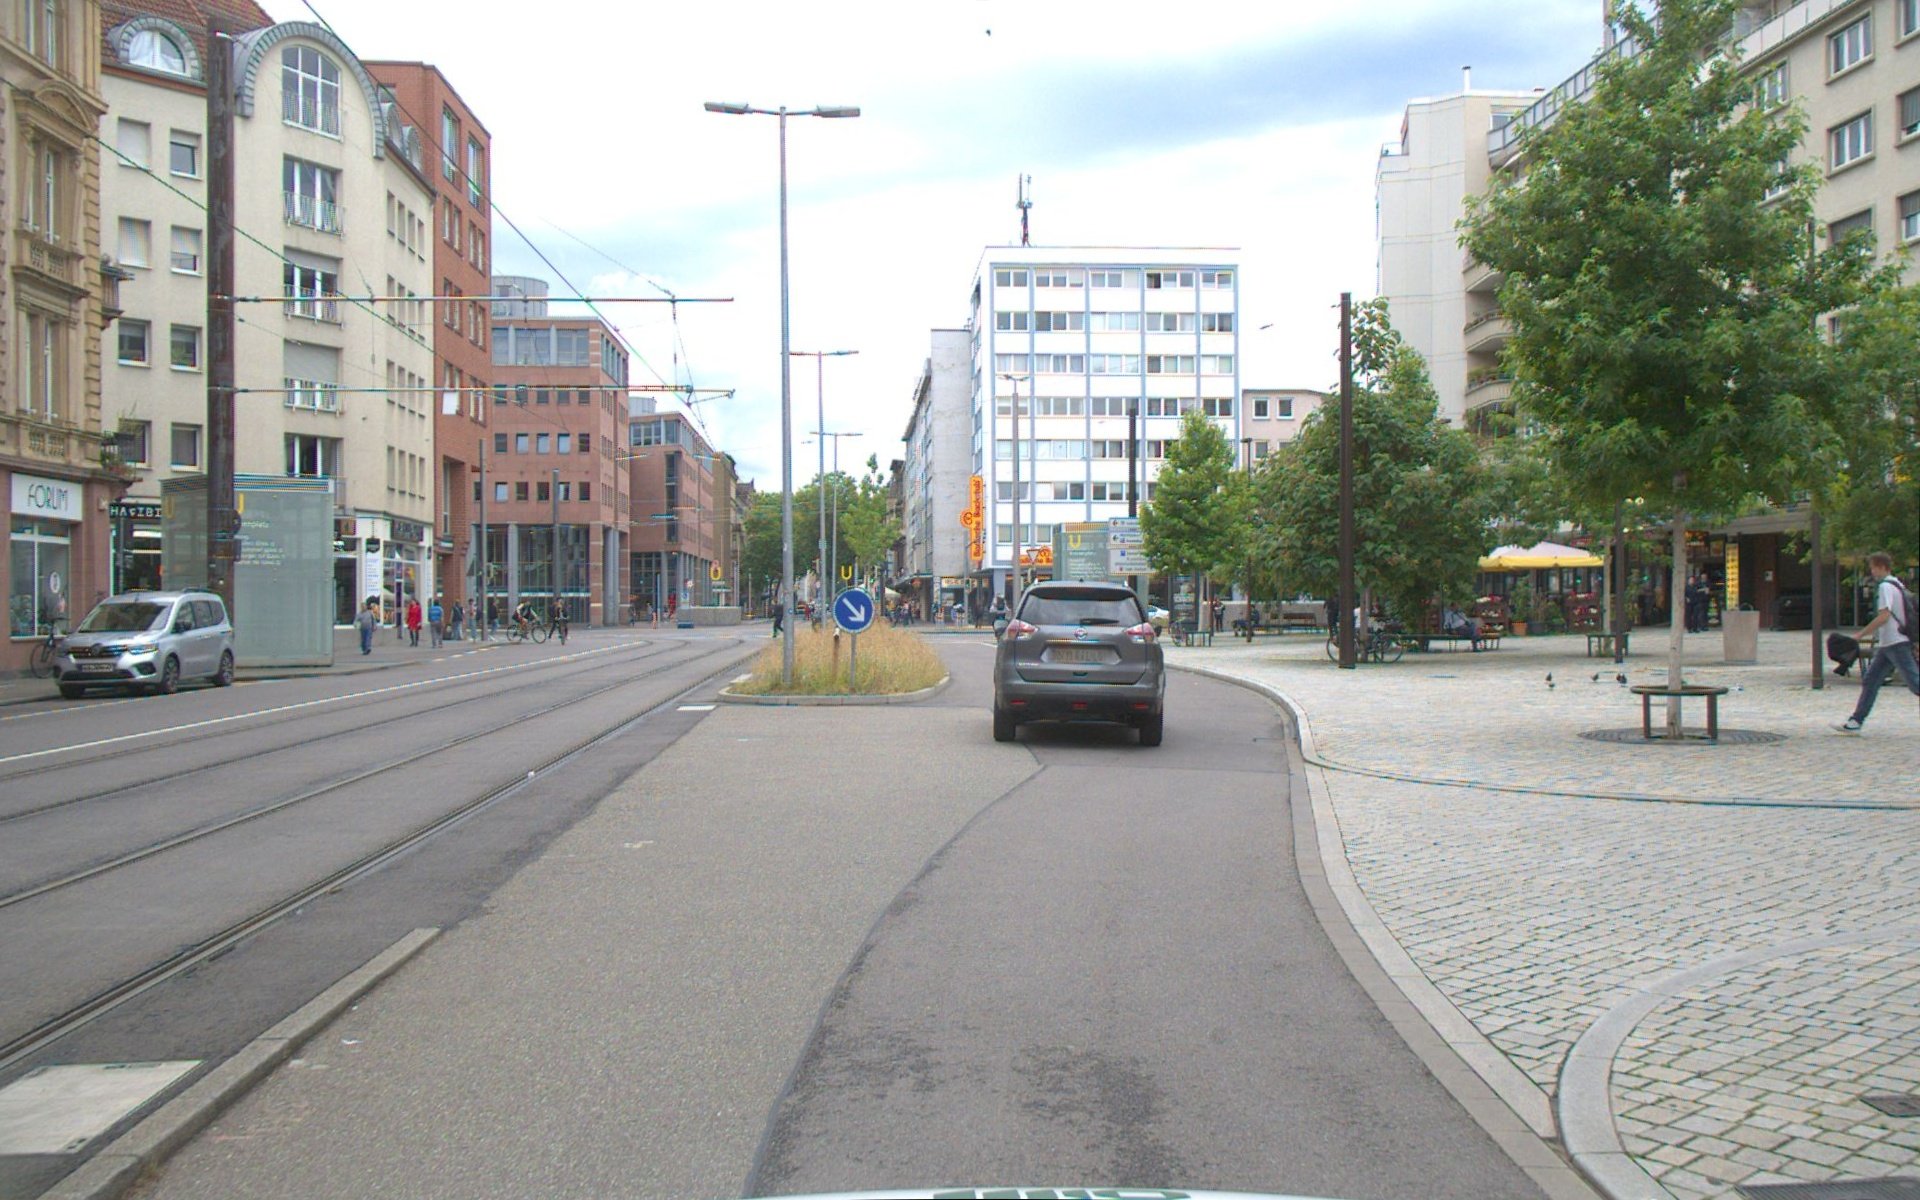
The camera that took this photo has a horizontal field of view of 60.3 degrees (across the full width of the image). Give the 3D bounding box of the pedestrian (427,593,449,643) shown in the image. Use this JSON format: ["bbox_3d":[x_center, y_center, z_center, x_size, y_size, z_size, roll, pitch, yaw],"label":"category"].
[{"bbox_3d":[-18.232,0.642,57.791,0.648,1.716,0.720,-1,-2,-13],"label":"pedestrian"}]

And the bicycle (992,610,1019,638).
[{"bbox_3d":[1.773,0.940,65.081,0.883,1.063,3.276,0,-1,-2],"label":"bicycle"}]

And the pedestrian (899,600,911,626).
[{"bbox_3d":[-3.803,0.880,114.410,0.719,1.776,0.661,1,-1,-12],"label":"pedestrian"}]

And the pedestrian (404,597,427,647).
[{"bbox_3d":[-19.040,0.766,57.817,0.708,1.716,0.659,-1,-2,-15],"label":"pedestrian"}]

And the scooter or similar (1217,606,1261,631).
[{"bbox_3d":[11.387,0.750,67.539,1.559,0.965,0.723,-3,-1,34],"label":"scooter or similar"}]

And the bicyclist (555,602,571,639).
[{"bbox_3d":[-15.412,0.806,64.230,0.472,1.431,0.807,-1,-1,-21],"label":"bicyclist"}]

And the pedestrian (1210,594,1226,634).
[{"bbox_3d":[11.790,0.631,75.597,0.657,1.792,0.642,0,-1,11],"label":"pedestrian"}]

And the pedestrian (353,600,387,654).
[{"bbox_3d":[-19.116,0.886,53.597,0.705,1.716,0.825,-2,-2,15],"label":"pedestrian"}]

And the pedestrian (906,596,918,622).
[{"bbox_3d":[-3.408,0.626,116.848,0.700,1.864,1.014,0,-1,-12],"label":"pedestrian"}]

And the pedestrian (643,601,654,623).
[{"bbox_3d":[-26.490,1.008,140.458,0.724,1.874,0.696,1,-1,-29],"label":"pedestrian"}]

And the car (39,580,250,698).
[{"bbox_3d":[-14.587,0.664,29.878,1.866,1.897,4.515,-2,0,-6],"label":"car"}]

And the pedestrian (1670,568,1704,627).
[{"bbox_3d":[22.460,-0.073,51.084,0.760,1.782,0.716,-3,0,34],"label":"pedestrian"}]

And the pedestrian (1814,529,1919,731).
[{"bbox_3d":[9.144,0.288,16.423,0.852,1.934,0.772,-2,0,-6],"label":"pedestrian"}]

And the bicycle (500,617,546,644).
[{"bbox_3d":[-17.910,1.248,67.786,1.866,1.039,0.478,-1,-1,21],"label":"bicycle"}]

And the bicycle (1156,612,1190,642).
[{"bbox_3d":[7.246,0.907,56.201,0.644,0.995,1.753,-1,0,24],"label":"bicycle"}]

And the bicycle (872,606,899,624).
[{"bbox_3d":[-5.177,1.044,115.054,1.838,1.192,0.528,1,-1,-19],"label":"bicycle"}]

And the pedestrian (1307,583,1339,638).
[{"bbox_3d":[12.563,0.359,57.218,0.699,1.834,1.077,-3,-1,-5],"label":"pedestrian"}]

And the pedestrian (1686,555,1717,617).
[{"bbox_3d":[23.336,-0.431,52.049,0.760,1.918,0.850,0,-1,34],"label":"pedestrian"}]

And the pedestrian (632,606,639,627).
[{"bbox_3d":[-23.428,1.180,119.472,0.442,1.559,0.519,1,-1,-22],"label":"pedestrian"}]

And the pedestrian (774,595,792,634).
[{"bbox_3d":[-7.913,0.656,73.968,0.730,1.713,0.797,1,-2,-9],"label":"pedestrian"}]

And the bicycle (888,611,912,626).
[{"bbox_3d":[-4.173,1.290,114.881,1.668,1.084,0.435,1,-1,-15],"label":"bicycle"}]

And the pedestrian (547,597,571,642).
[{"bbox_3d":[-17.315,0.841,71.453,0.879,1.923,0.798,1,-2,-7],"label":"pedestrian"}]

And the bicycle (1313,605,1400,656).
[{"bbox_3d":[9.079,0.702,37.929,1.873,1.142,0.645,0,-1,7],"label":"bicycle"}]

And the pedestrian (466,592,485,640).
[{"bbox_3d":[-17.892,0.592,61.035,0.649,1.716,0.719,-1,-2,-17],"label":"pedestrian"}]

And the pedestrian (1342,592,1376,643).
[{"bbox_3d":[10.979,0.492,45.538,0.619,1.390,0.683,1,-1,-23],"label":"pedestrian"}]

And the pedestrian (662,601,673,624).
[{"bbox_3d":[-24.974,1.067,141.274,0.685,1.874,0.735,0,-1,15],"label":"pedestrian"}]

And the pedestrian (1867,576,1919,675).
[{"bbox_3d":[14.656,0.390,25.602,0.771,1.481,0.759,-3,0,-34],"label":"pedestrian"}]

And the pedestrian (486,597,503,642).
[{"bbox_3d":[-20.211,0.846,71.831,0.598,1.923,0.798,0,-1,-6],"label":"pedestrian"}]

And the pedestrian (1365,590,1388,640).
[{"bbox_3d":[11.613,0.411,46.126,0.614,1.390,0.920,0,-1,13],"label":"pedestrian"}]

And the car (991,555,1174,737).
[{"bbox_3d":[1.286,0.503,18.844,1.824,1.806,4.567,0,-1,1],"label":"car"}]

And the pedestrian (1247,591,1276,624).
[{"bbox_3d":[12.287,0.306,67.364,1.023,1.320,0.733,-2,-1,1],"label":"pedestrian"}]

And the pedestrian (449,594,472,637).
[{"bbox_3d":[-20.132,0.626,66.679,0.855,1.716,0.658,0,-2,-19],"label":"pedestrian"}]

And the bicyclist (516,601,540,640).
[{"bbox_3d":[-17.681,0.848,67.697,0.792,1.567,0.493,-1,-1,19],"label":"bicyclist"}]

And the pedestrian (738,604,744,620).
[{"bbox_3d":[-23.075,1.261,174.562,0.590,1.744,0.654,0,-1,-11],"label":"pedestrian"}]

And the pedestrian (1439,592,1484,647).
[{"bbox_3d":[12.947,0.491,42.733,0.615,1.390,1.408,0,-1,-5],"label":"pedestrian"}]

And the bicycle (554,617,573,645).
[{"bbox_3d":[-15.431,1.199,64.309,0.472,1.039,1.900,-1,0,-21],"label":"bicycle"}]

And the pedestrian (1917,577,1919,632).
[{"bbox_3d":[14.974,0.369,24.805,0.771,1.481,0.759,-3,0,-34],"label":"pedestrian"}]

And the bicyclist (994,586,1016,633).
[{"bbox_3d":[1.776,0.387,65.071,0.817,1.844,0.877,0,-1,-2],"label":"bicyclist"}]

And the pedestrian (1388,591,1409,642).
[{"bbox_3d":[12.301,0.457,46.400,0.531,1.390,1.281,0,-1,13],"label":"pedestrian"}]

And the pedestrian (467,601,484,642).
[{"bbox_3d":[-20.131,0.895,68.719,0.558,1.713,0.797,1,-2,-8],"label":"pedestrian"}]
